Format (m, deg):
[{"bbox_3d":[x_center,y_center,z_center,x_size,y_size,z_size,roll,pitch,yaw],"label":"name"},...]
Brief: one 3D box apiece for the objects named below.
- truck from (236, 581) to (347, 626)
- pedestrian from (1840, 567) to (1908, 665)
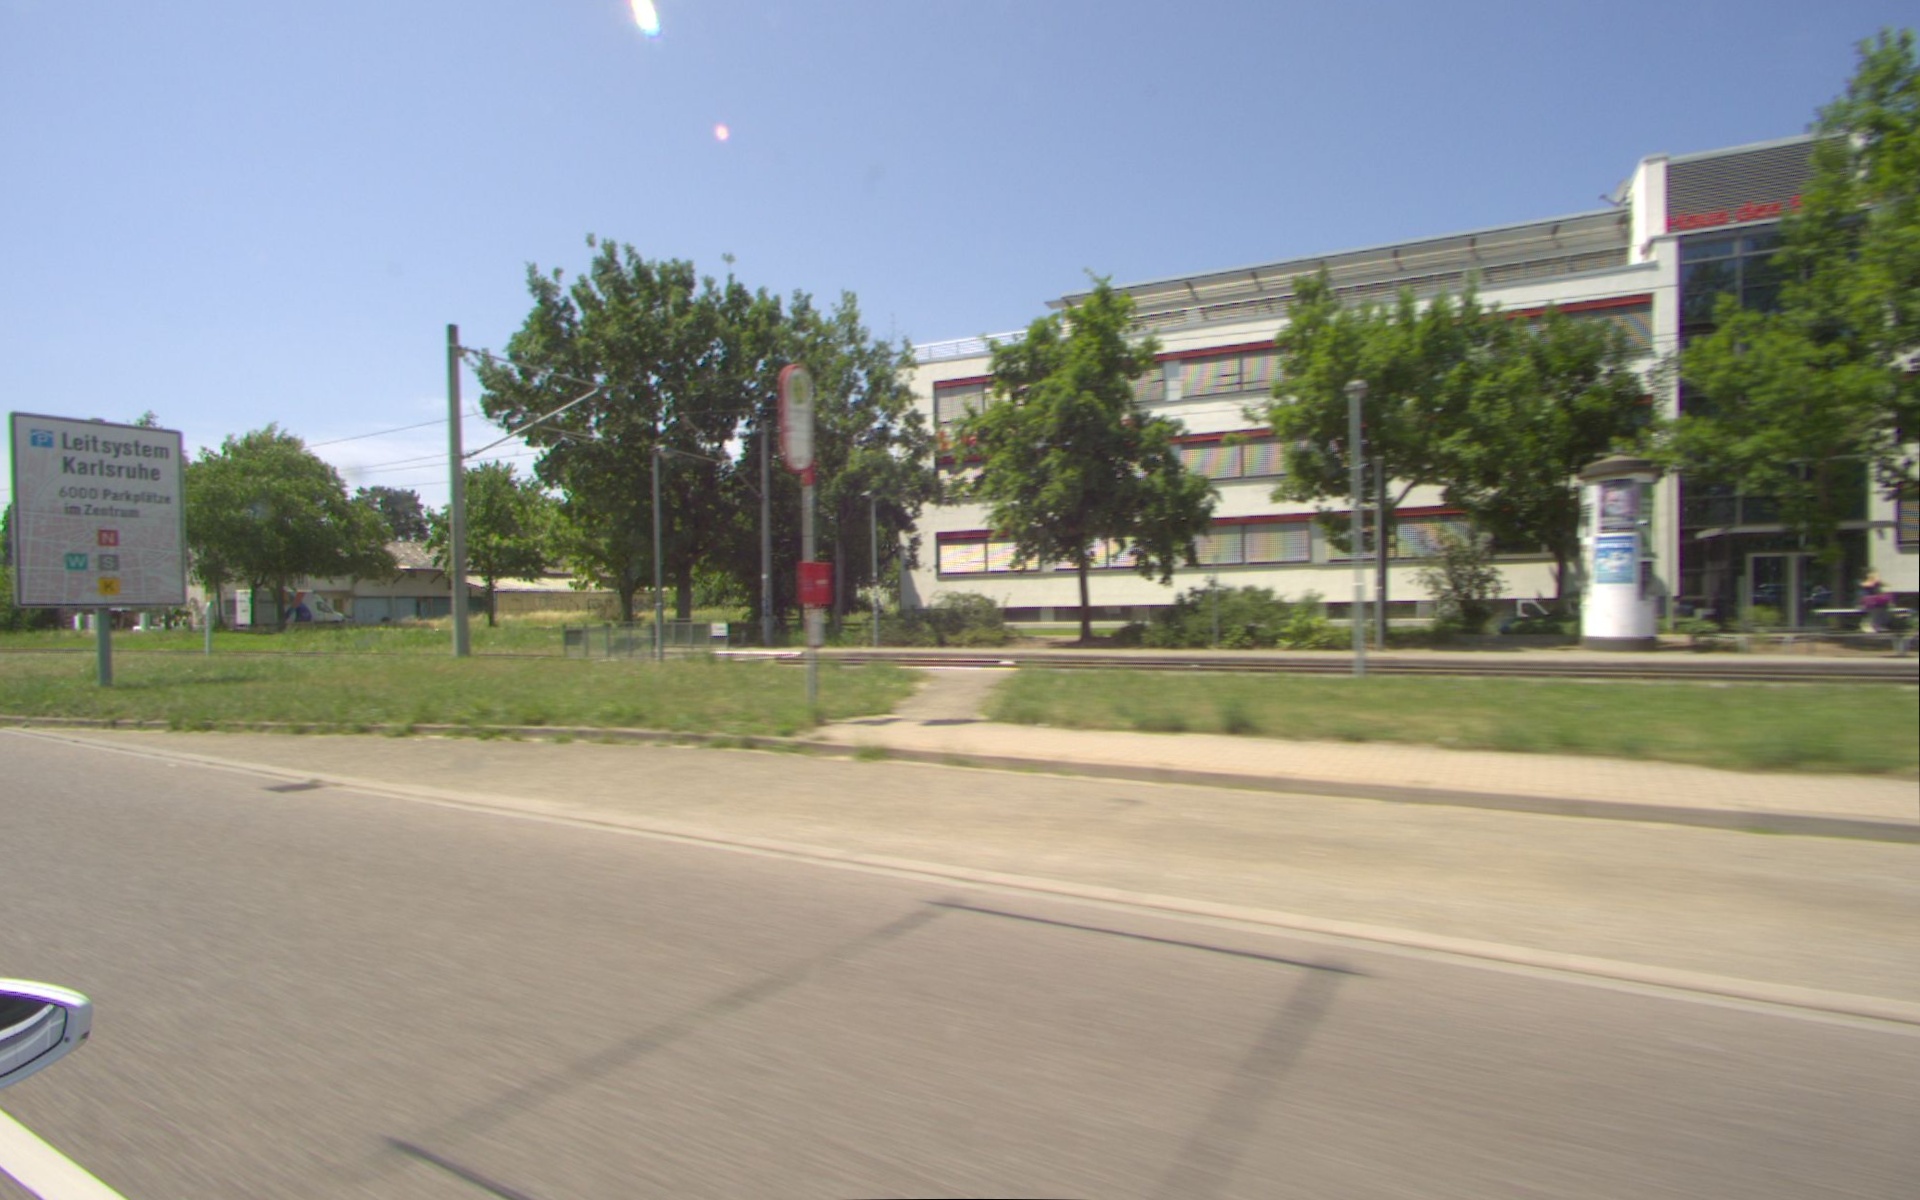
[{"bbox_3d":[-45.190,0.183,67.889,2.282,2.881,5.840,-1,1,24],"label":"truck"},{"bbox_3d":[17.867,0.325,19.590,0.699,1.865,0.695,-1,-1,16],"label":"pedestrian"}]
